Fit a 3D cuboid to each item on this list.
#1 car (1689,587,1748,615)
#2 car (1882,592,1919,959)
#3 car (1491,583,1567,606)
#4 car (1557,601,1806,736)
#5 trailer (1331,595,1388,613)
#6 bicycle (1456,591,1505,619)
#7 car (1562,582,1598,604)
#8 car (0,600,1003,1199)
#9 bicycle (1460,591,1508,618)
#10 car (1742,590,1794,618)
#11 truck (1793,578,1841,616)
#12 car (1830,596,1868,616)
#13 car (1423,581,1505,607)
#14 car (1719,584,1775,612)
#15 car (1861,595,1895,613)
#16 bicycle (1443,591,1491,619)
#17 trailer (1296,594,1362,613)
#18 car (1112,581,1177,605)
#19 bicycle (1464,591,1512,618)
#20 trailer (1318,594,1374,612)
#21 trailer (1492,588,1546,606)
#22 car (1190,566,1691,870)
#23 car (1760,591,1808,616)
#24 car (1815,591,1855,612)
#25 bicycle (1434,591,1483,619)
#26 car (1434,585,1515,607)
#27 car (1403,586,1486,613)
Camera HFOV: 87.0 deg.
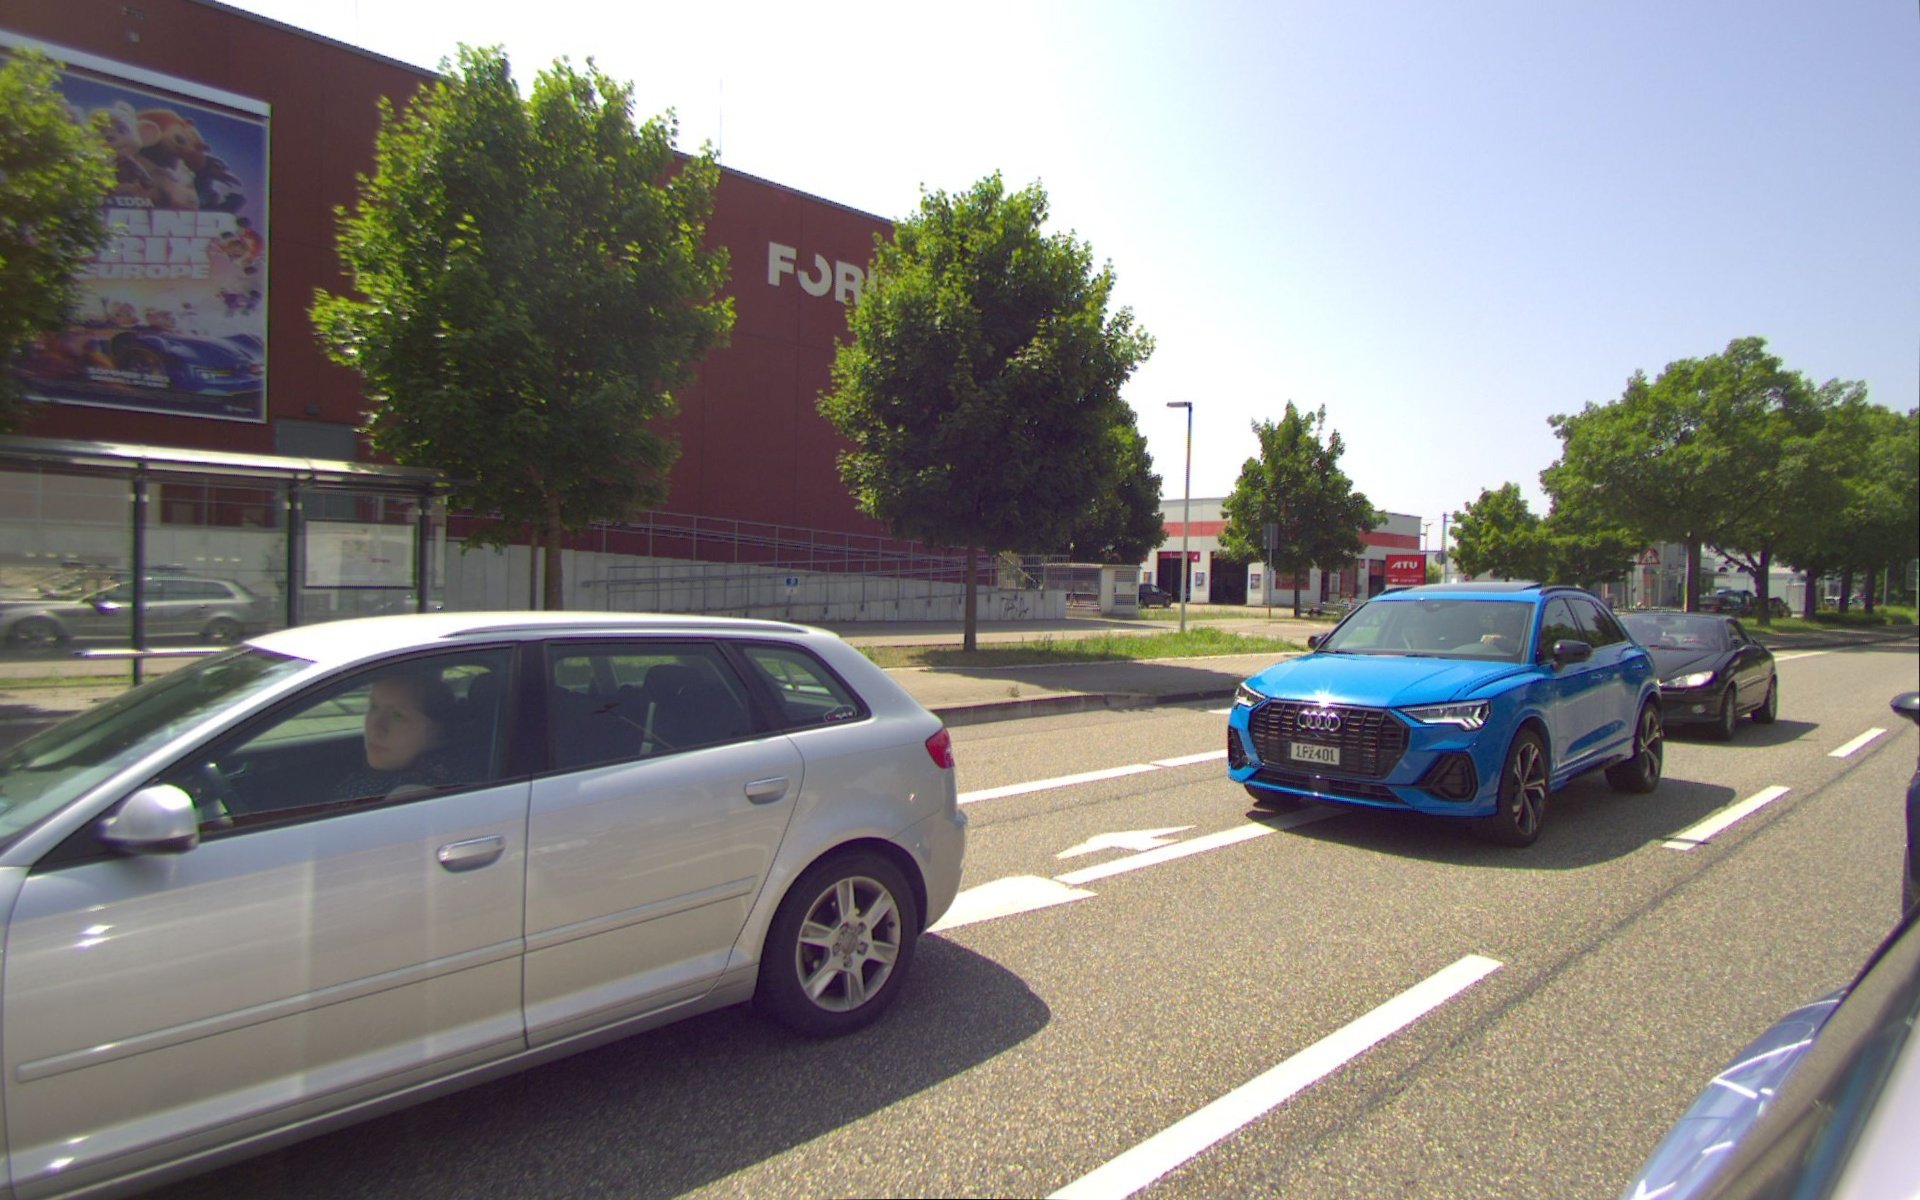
[{"bbox_3d":[39.382,0.038,52.546,3.930,1.388,1.641,0,2,-41],"label":"car"},{"bbox_3d":[5.653,0.710,4.702,3.931,1.421,1.640,0,2,-42],"label":"car"},{"bbox_3d":[36.949,-0.362,65.812,1.662,1.317,3.991,0,2,-44],"label":"car"},{"bbox_3d":[8.771,0.698,12.186,3.931,1.361,1.640,0,0,-42],"label":"car"},{"bbox_3d":[19.256,0.187,48.802,1.369,0.771,2.137,0,2,-39],"label":"trailer"},{"bbox_3d":[22.436,0.224,43.657,1.779,1.138,0.507,3,1,43],"label":"bicycle"},{"bbox_3d":[48.848,-0.564,79.671,1.753,1.616,3.940,2,2,41],"label":"car"},{"bbox_3d":[-1.887,0.696,3.114,4.022,1.379,1.714,0,0,-43],"label":"car"},{"bbox_3d":[22.844,0.183,44.148,1.779,1.138,0.507,3,1,43],"label":"bicycle"},{"bbox_3d":[47.837,0.248,59.888,3.930,1.539,1.719,0,2,-41],"label":"car"},{"bbox_3d":[60.822,-0.240,71.782,3.929,2.599,1.904,0,1,-40],"label":"truck"},{"bbox_3d":[70.194,0.445,79.852,3.930,1.485,1.719,0,2,-41],"label":"car"},{"bbox_3d":[29.676,-0.362,59.624,1.718,1.419,3.991,0,2,-44],"label":"car"},{"bbox_3d":[44.001,-0.112,56.563,3.930,1.485,1.719,0,2,-41],"label":"car"},{"bbox_3d":[80.491,0.358,88.724,3.930,1.485,1.719,0,2,-41],"label":"car"},{"bbox_3d":[21.715,0.190,43.374,1.779,1.138,0.507,3,1,43],"label":"bicycle"},{"bbox_3d":[16.889,0.141,46.377,1.423,0.771,2.467,0,2,-39],"label":"trailer"},{"bbox_3d":[10.995,-0.416,60.182,4.074,1.390,1.716,0,2,-42],"label":"car"},{"bbox_3d":[23.311,0.200,44.689,1.779,1.138,0.507,3,1,43],"label":"bicycle"},{"bbox_3d":[18.186,0.113,47.702,1.244,0.771,2.137,0,2,-39],"label":"trailer"},{"bbox_3d":[35.275,-0.200,63.926,1.552,1.065,2.638,0,2,-43],"label":"trailer"},{"bbox_3d":[3.756,0.605,7.518,4.324,1.616,1.840,0,1,-42],"label":"car"},{"bbox_3d":[52.210,0.211,64.110,3.930,1.532,1.719,0,2,-41],"label":"car"},{"bbox_3d":[65.233,0.125,75.436,3.930,1.485,1.719,0,2,-41],"label":"car"},{"bbox_3d":[21.201,0.204,43.028,1.779,1.138,0.507,3,1,43],"label":"bicycle"},{"bbox_3d":[31.196,-0.256,61.424,1.718,1.223,3.991,0,2,-44],"label":"car"},{"bbox_3d":[27.886,-0.061,58.339,1.718,1.419,3.992,0,2,-43],"label":"car"}]
